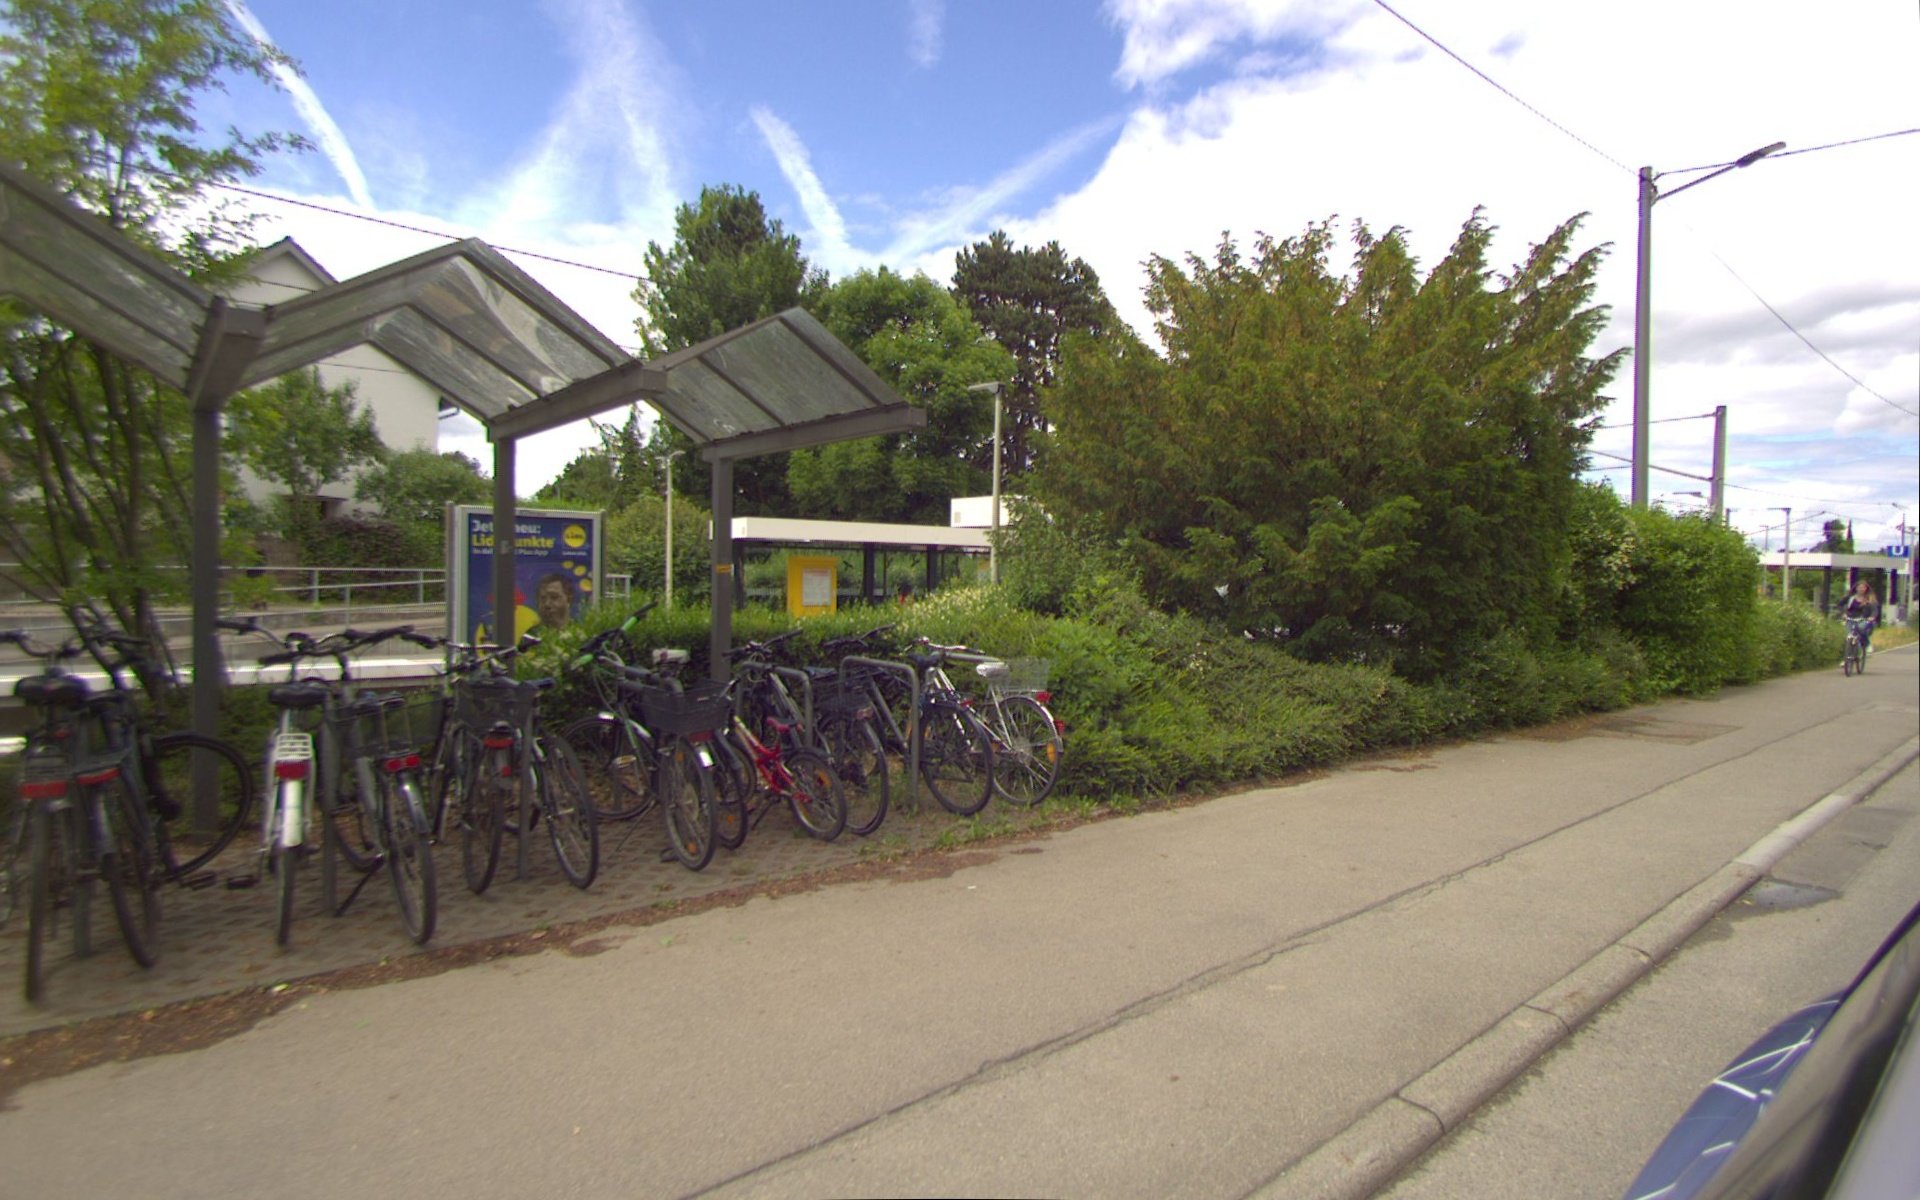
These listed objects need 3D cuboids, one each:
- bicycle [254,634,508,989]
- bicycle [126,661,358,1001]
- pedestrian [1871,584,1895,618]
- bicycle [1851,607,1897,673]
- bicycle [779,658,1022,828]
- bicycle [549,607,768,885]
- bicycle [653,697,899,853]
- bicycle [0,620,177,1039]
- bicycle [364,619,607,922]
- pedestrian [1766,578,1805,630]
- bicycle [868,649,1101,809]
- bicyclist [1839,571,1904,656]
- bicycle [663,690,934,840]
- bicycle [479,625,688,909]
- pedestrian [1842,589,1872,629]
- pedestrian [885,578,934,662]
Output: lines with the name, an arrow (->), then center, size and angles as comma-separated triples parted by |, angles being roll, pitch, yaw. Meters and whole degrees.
bicycle -> -2.555, 0.737, 4.323 | 0.444, 1.060, 2.203 | 0, 1, -43
bicycle -> -3.018, 0.790, 4.152 | 0.444, 0.950, 2.202 | 0, 0, -44
pedestrian -> 34.700, 0.030, 38.051 | 0.572, 1.295, 0.588 | 0, 0, -38
bicycle -> 17.439, 0.736, 19.296 | 2.171, 1.163, 0.450 | -1, 2, -43
bicycle -> -0.458, 0.851, 6.566 | 0.443, 0.837, 1.992 | 0, 0, -41
bicycle -> -1.733, 0.662, 5.538 | 0.443, 1.163, 2.207 | 0, 2, -36
bicycle -> -1.076, 0.930, 5.673 | 1.673, 0.647, 0.328 | 0, 0, 38
bicycle -> -3.449, 0.697, 3.850 | 0.522, 1.165, 2.090 | 0, 1, -44
bicycle -> -2.495, 0.727, 5.147 | 0.444, 1.060, 2.204 | 0, 4, -43
pedestrian -> 26.423, 0.121, 32.399 | 0.718, 1.638, 0.703 | 0, 0, 15
bicycle -> 0.085, 0.814, 6.991 | 0.443, 0.837, 2.083 | 0, 0, -36
bicyclist -> 17.411, 0.242, 19.337 | 0.847, 1.557, 0.825 | 0, 1, -43
bicycle -> -1.023, 0.926, 6.013 | 1.977, 0.647, 0.328 | 0, 0, 38
bicycle -> -2.028, 0.724, 5.240 | 0.443, 1.060, 2.208 | 0, 2, -36
pedestrian -> 32.909, 0.324, 37.147 | 0.631, 1.438, 0.720 | 0, 0, -38
pedestrian -> -1.262, 0.483, 25.259 | 0.898, 2.039, 0.920 | 0, 0, -31
